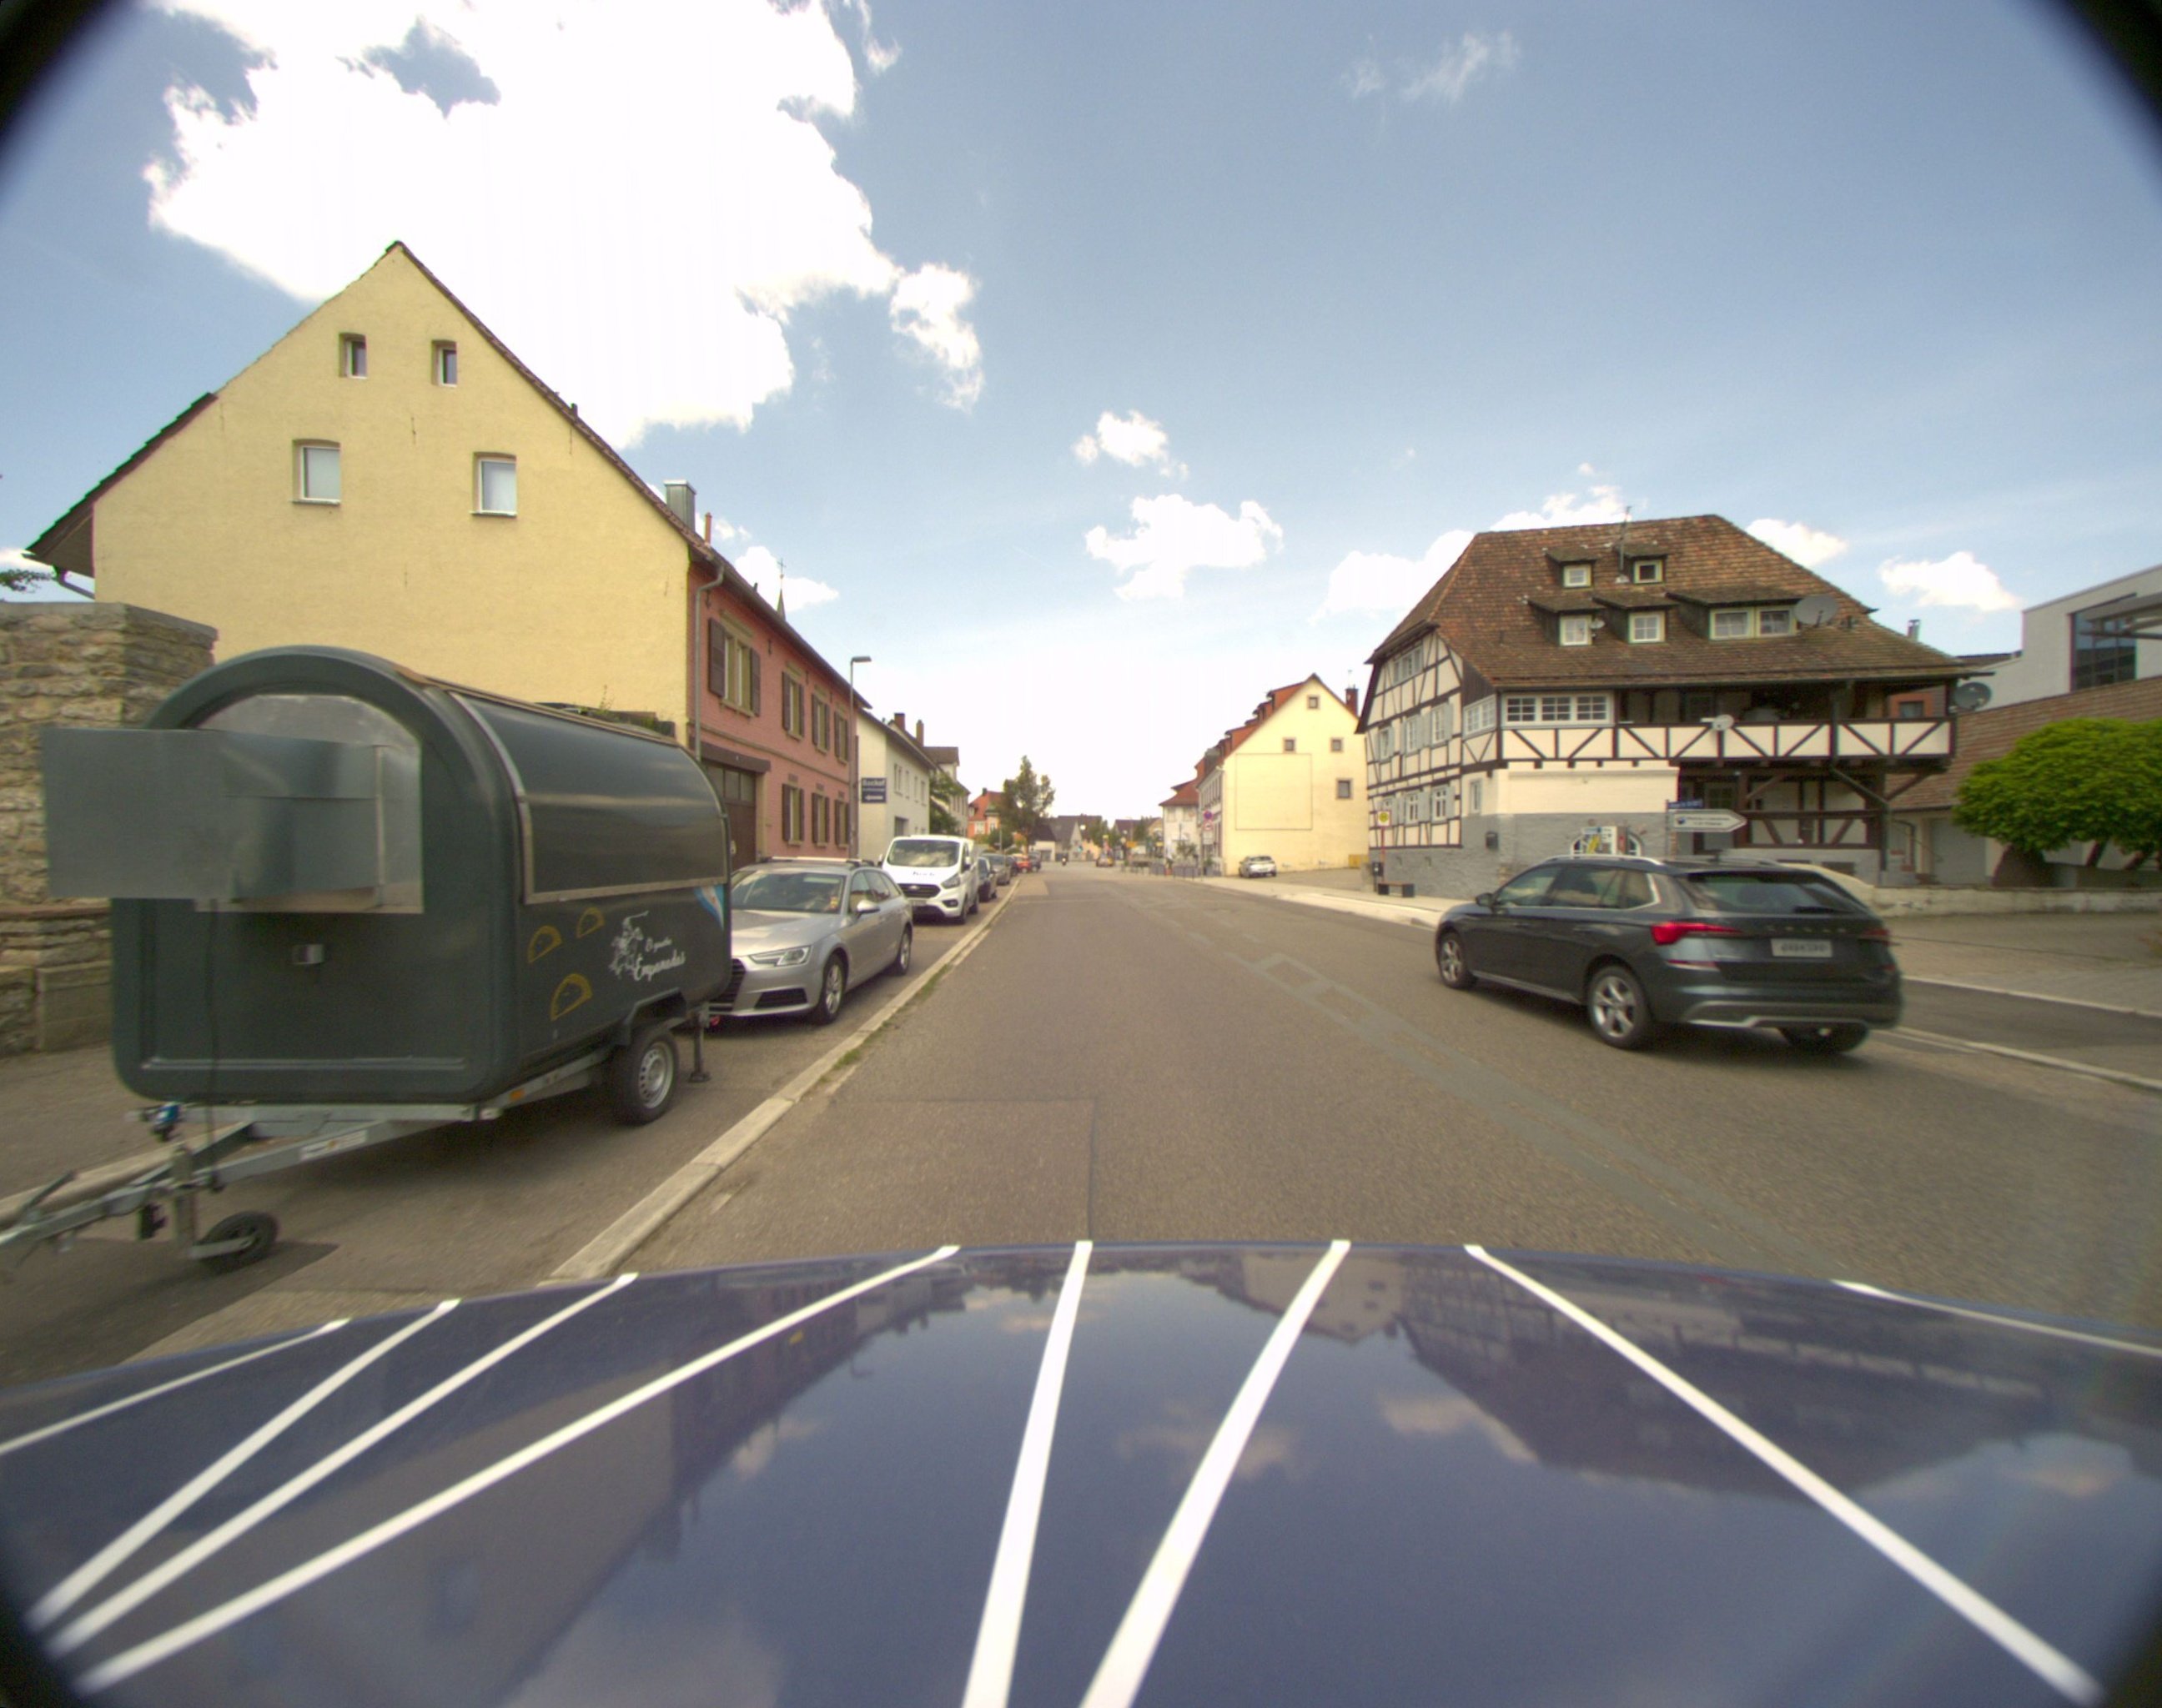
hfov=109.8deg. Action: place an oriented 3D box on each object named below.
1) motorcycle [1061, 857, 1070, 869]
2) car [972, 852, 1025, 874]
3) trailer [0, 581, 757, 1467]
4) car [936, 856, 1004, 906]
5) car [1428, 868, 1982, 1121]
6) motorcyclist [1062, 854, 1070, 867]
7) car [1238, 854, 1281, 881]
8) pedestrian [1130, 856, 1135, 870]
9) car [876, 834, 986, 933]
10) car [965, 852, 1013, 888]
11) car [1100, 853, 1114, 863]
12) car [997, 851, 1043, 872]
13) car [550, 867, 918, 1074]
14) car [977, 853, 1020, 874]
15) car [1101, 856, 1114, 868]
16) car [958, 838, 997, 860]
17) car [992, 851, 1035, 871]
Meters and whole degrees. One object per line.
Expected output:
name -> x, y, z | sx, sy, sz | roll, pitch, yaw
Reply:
motorcycle -> -2.219, 1.332, 111.613 | 1.133, 1.609, 4.000 | 1, 1, 1
car -> -5.853, 0.664, 54.003 | 3.242, 1.496, 1.822 | 1, 0, -28
trailer -> -3.272, 0.450, 3.781 | 1.850, 2.340, 3.588 | 1, 0, -2
car -> -3.712, 0.866, 26.069 | 1.779, 1.486, 4.161 | 2, 0, -1
car -> 4.979, 0.954, 6.960 | 1.747, 1.518, 4.019 | 2, 0, 1
motorcyclist -> -2.206, 0.933, 111.057 | 1.048, 1.935, 1.248 | 1, 1, 1
car -> 11.444, 0.836, 49.061 | 1.762, 1.484, 4.275 | -4, 1, 1
pedestrian -> 6.009, 1.043, 88.626 | 0.640, 1.619, 0.620 | 1, 1, 1
car -> -3.423, 0.616, 18.235 | 1.897, 1.970, 4.928 | 3, 0, -4
car -> -4.600, 0.763, 38.497 | 1.999, 1.671, 4.322 | 1, 0, -1
car -> 3.629, 0.575, 105.677 | 1.820, 1.415, 4.539 | 0, 0, 4
car -> -5.261, 0.659, 65.722 | 3.860, 1.569, 1.849 | 2, 3, -5
car -> -3.159, 0.938, 8.165 | 1.880, 1.473, 4.673 | 1, 0, -1
car -> -6.177, 0.681, 56.782 | 2.792, 1.496, 1.874 | 1, 0, -25
car -> 3.457, 1.029, 99.764 | 1.672, 1.466, 3.963 | 1, 0, 1
car -> -14.703, -0.736, 108.615 | 2.756, 2.946, 7.122 | 2, 1, 16
car -> -5.588, 0.554, 63.332 | 3.386, 1.568, 1.726 | 1, 0, -2
